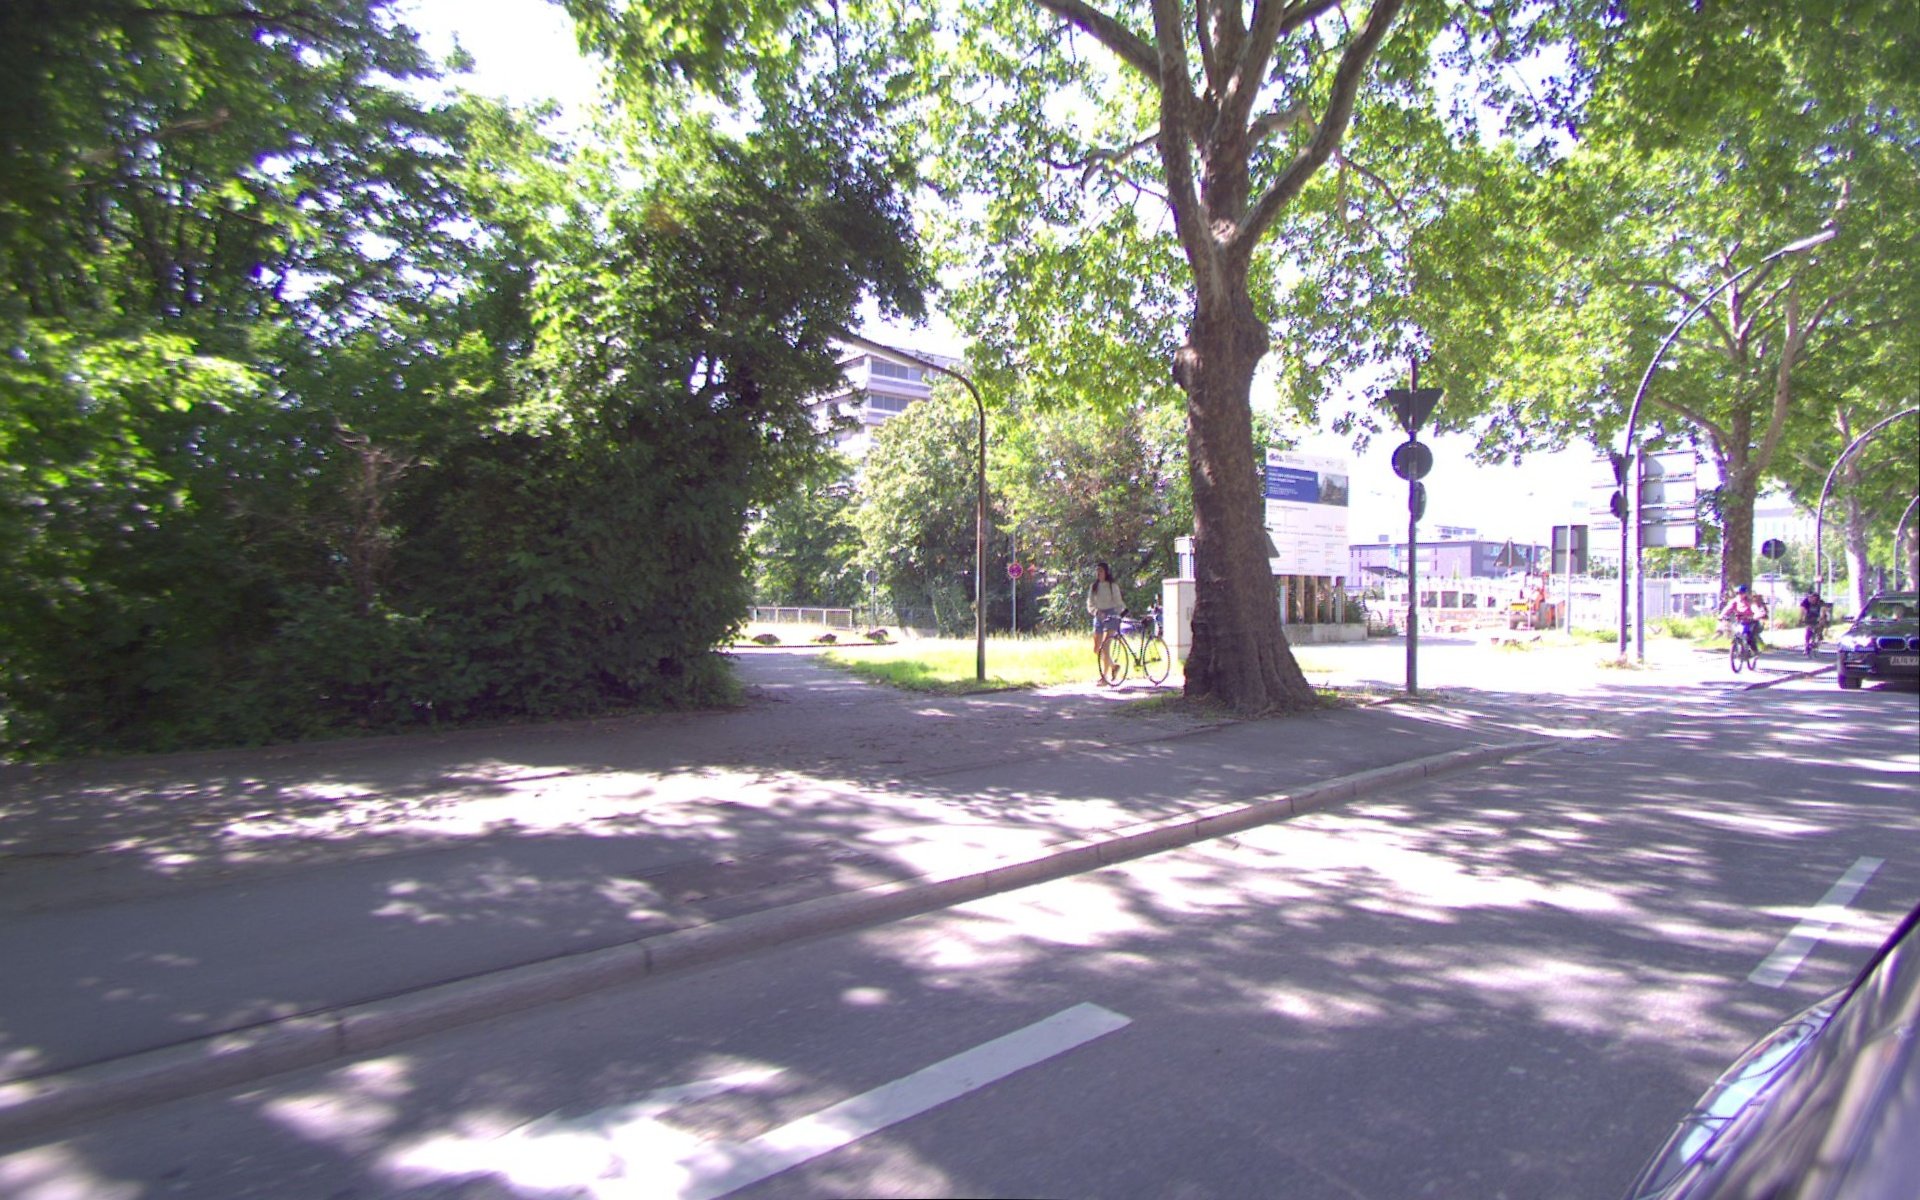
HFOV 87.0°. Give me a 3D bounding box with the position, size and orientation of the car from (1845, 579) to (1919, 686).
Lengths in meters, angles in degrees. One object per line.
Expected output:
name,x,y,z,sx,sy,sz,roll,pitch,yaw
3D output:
car,17.176,0.516,17.747,4.079,1.752,1.922,0,0,-41

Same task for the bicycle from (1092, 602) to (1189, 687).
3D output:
bicycle,2.503,0.581,13.930,1.669,1.095,0.350,0,0,-41

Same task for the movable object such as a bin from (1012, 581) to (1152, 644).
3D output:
movable object such as a bin,10.391,1.076,88.219,11.558,5.242,6.753,0,0,2

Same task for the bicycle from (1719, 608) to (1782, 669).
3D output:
bicycle,16.150,0.767,20.669,1.912,1.143,0.652,0,2,-41

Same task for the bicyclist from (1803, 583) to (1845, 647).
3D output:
bicyclist,21.460,0.362,25.135,1.194,1.508,0.599,0,2,-42

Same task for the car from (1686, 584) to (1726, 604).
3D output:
car,105.665,-0.847,143.320,1.779,2.773,4.367,0,0,-43

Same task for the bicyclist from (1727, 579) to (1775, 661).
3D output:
bicyclist,16.156,0.394,20.678,0.720,1.620,0.621,0,2,-42

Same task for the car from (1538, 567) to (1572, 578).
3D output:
car,87.074,-3.978,148.058,1.779,1.529,3.990,0,0,-43

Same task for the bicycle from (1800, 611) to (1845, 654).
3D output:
bicycle,21.415,0.787,25.117,1.751,0.992,0.598,0,2,-43

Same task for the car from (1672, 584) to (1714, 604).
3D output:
car,100.479,-0.813,138.752,1.779,2.773,4.367,0,0,-43

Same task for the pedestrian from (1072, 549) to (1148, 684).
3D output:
pedestrian,2.080,0.216,14.037,0.859,1.808,0.633,0,-1,-41

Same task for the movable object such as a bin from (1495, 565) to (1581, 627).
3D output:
movable object such as a bin,30.615,-0.193,53.538,5.886,3.111,2.371,0,0,-44

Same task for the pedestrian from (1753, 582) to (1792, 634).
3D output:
pedestrian,30.289,0.293,37.714,1.131,1.916,0.940,0,0,-40

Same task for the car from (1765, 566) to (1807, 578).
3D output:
car,104.599,-3.527,128.208,1.779,1.529,3.990,0,0,-43

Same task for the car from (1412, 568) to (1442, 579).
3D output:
car,73.563,-4.163,159.513,1.779,1.529,3.990,0,0,-43

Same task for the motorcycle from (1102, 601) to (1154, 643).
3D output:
motorcycle,4.073,0.525,24.584,1.219,0.980,0.464,0,0,44
